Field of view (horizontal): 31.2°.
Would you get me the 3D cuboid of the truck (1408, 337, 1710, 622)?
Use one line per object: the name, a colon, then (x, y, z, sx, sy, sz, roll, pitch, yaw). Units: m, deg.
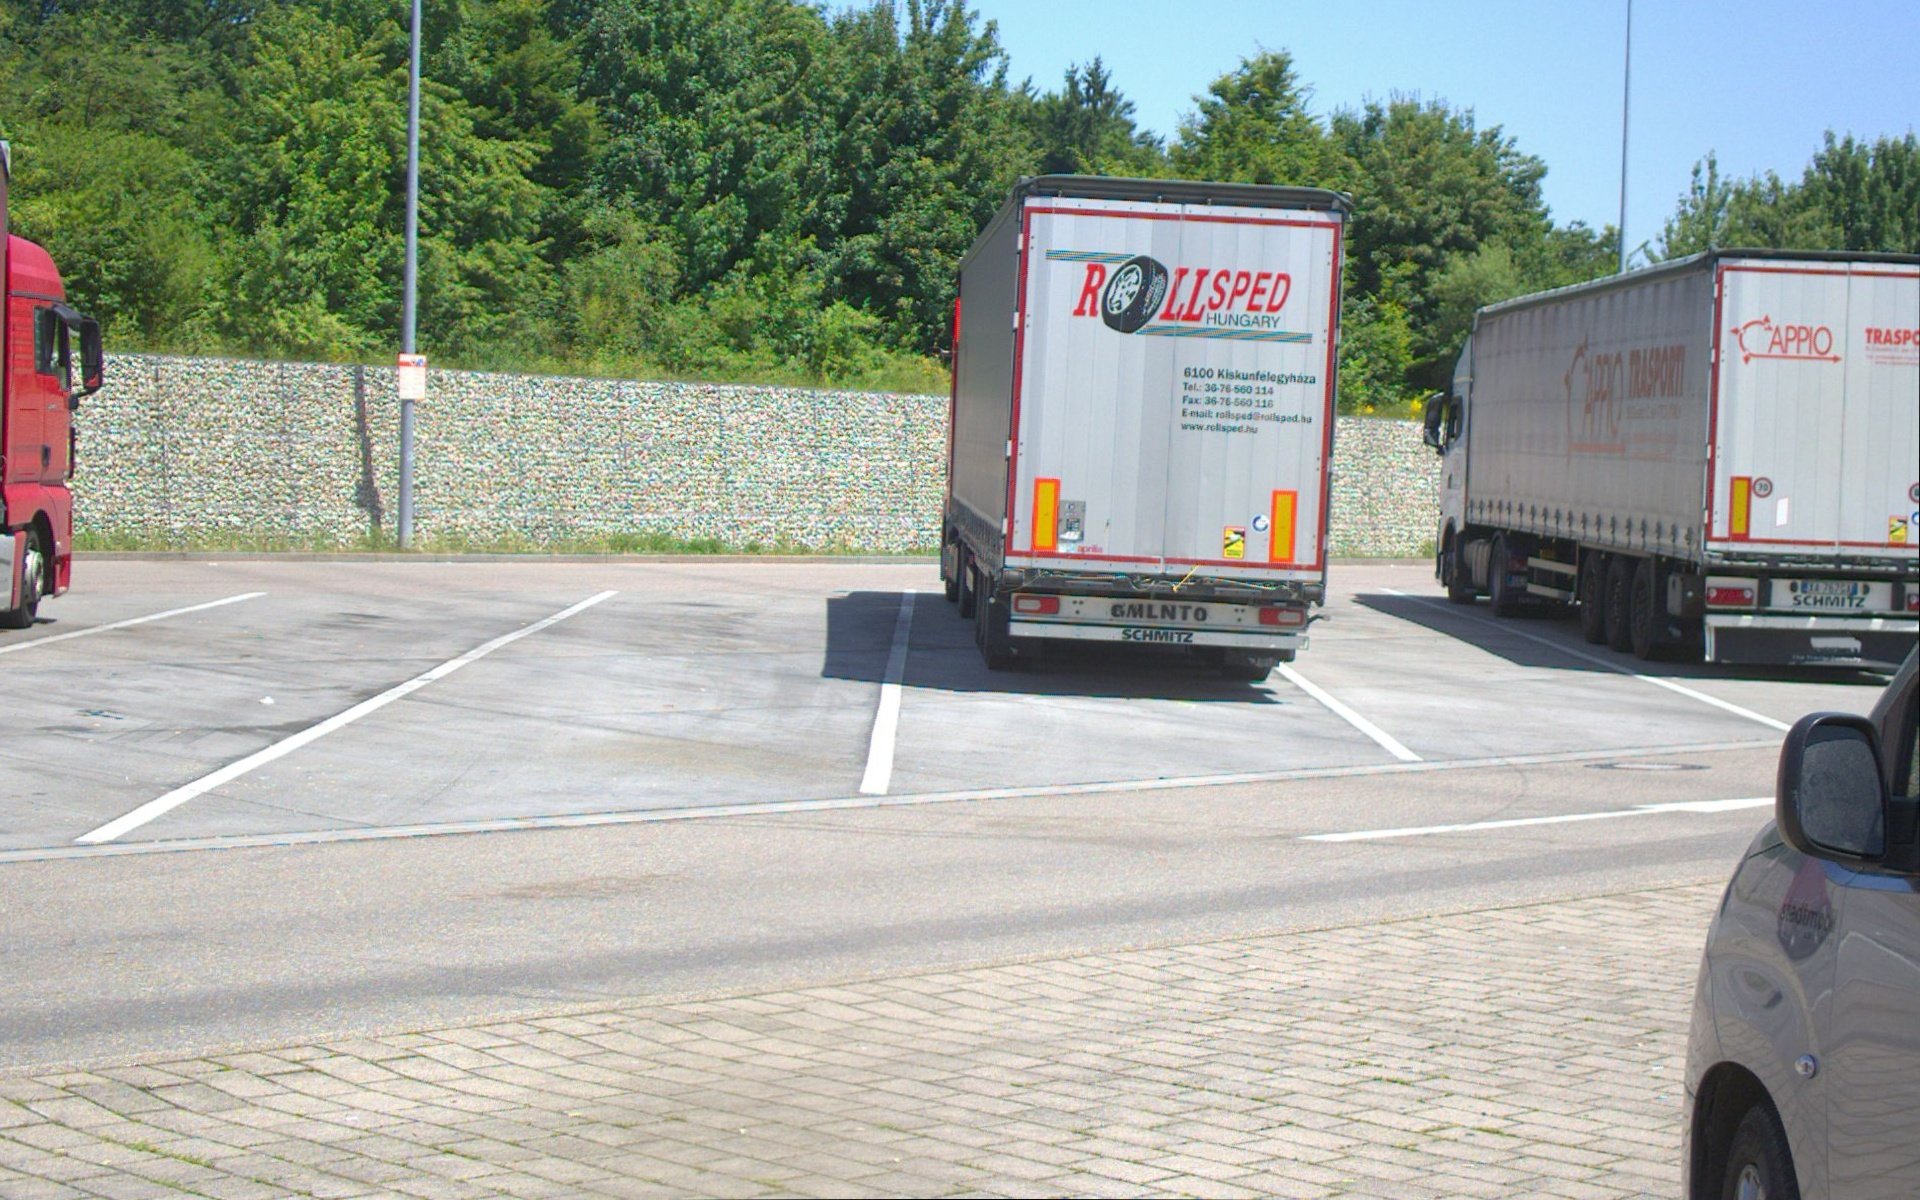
truck: (8.023, -1.696, 46.830, 2.862, 3.509, 5.900, 2, 3, -1)

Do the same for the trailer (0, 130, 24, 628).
trailer: (-9.195, -1.491, 21.568, 2.791, 4.071, 14.133, 2, 3, -1)

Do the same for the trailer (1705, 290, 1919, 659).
trailer: (11.756, -1.450, 39.781, 2.811, 3.976, 14.396, 2, 3, -1)

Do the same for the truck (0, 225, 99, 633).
truck: (-9.238, -1.447, 28.142, 2.851, 3.316, 5.900, 2, 3, -1)

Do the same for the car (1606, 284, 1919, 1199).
car: (2.147, 0.587, 3.849, 1.869, 1.857, 4.177, 2, 2, -2)

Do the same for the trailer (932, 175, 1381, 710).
trailer: (1.448, -1.592, 33.617, 3.133, 3.976, 14.397, 2, 3, -1)

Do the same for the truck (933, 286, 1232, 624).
truck: (1.312, -1.734, 40.510, 3.103, 3.554, 5.900, 2, 3, -1)

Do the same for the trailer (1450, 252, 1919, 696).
trailer: (8.115, -1.519, 38.729, 2.811, 3.976, 14.396, 2, 3, -1)
